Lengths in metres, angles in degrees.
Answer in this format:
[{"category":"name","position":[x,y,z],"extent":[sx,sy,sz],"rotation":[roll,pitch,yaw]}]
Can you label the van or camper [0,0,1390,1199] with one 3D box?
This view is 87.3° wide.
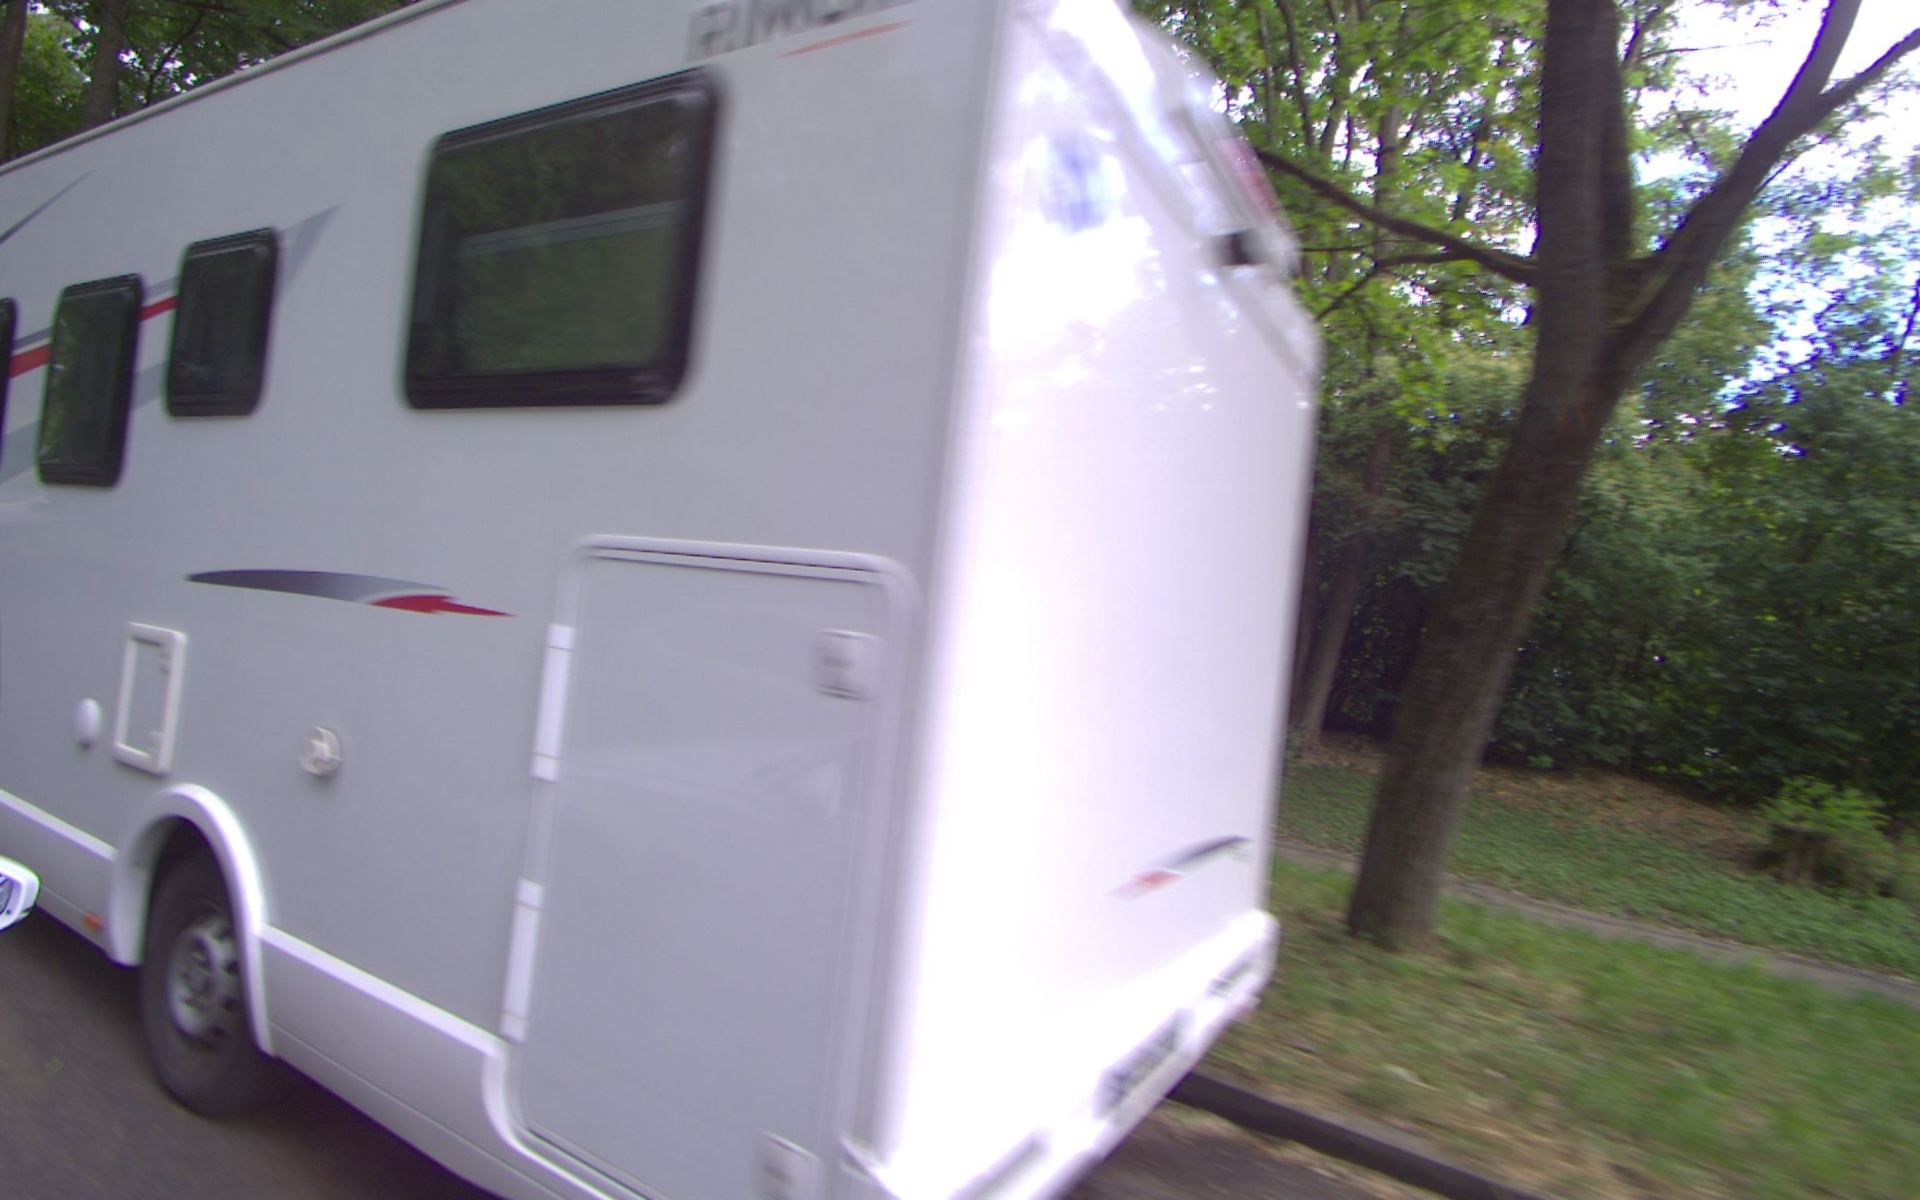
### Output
[{"category":"van or camper","position":[-2.437,-0.257,4.217],"extent":[7.270,3.013,2.430],"rotation":[7,-2,31]}]
